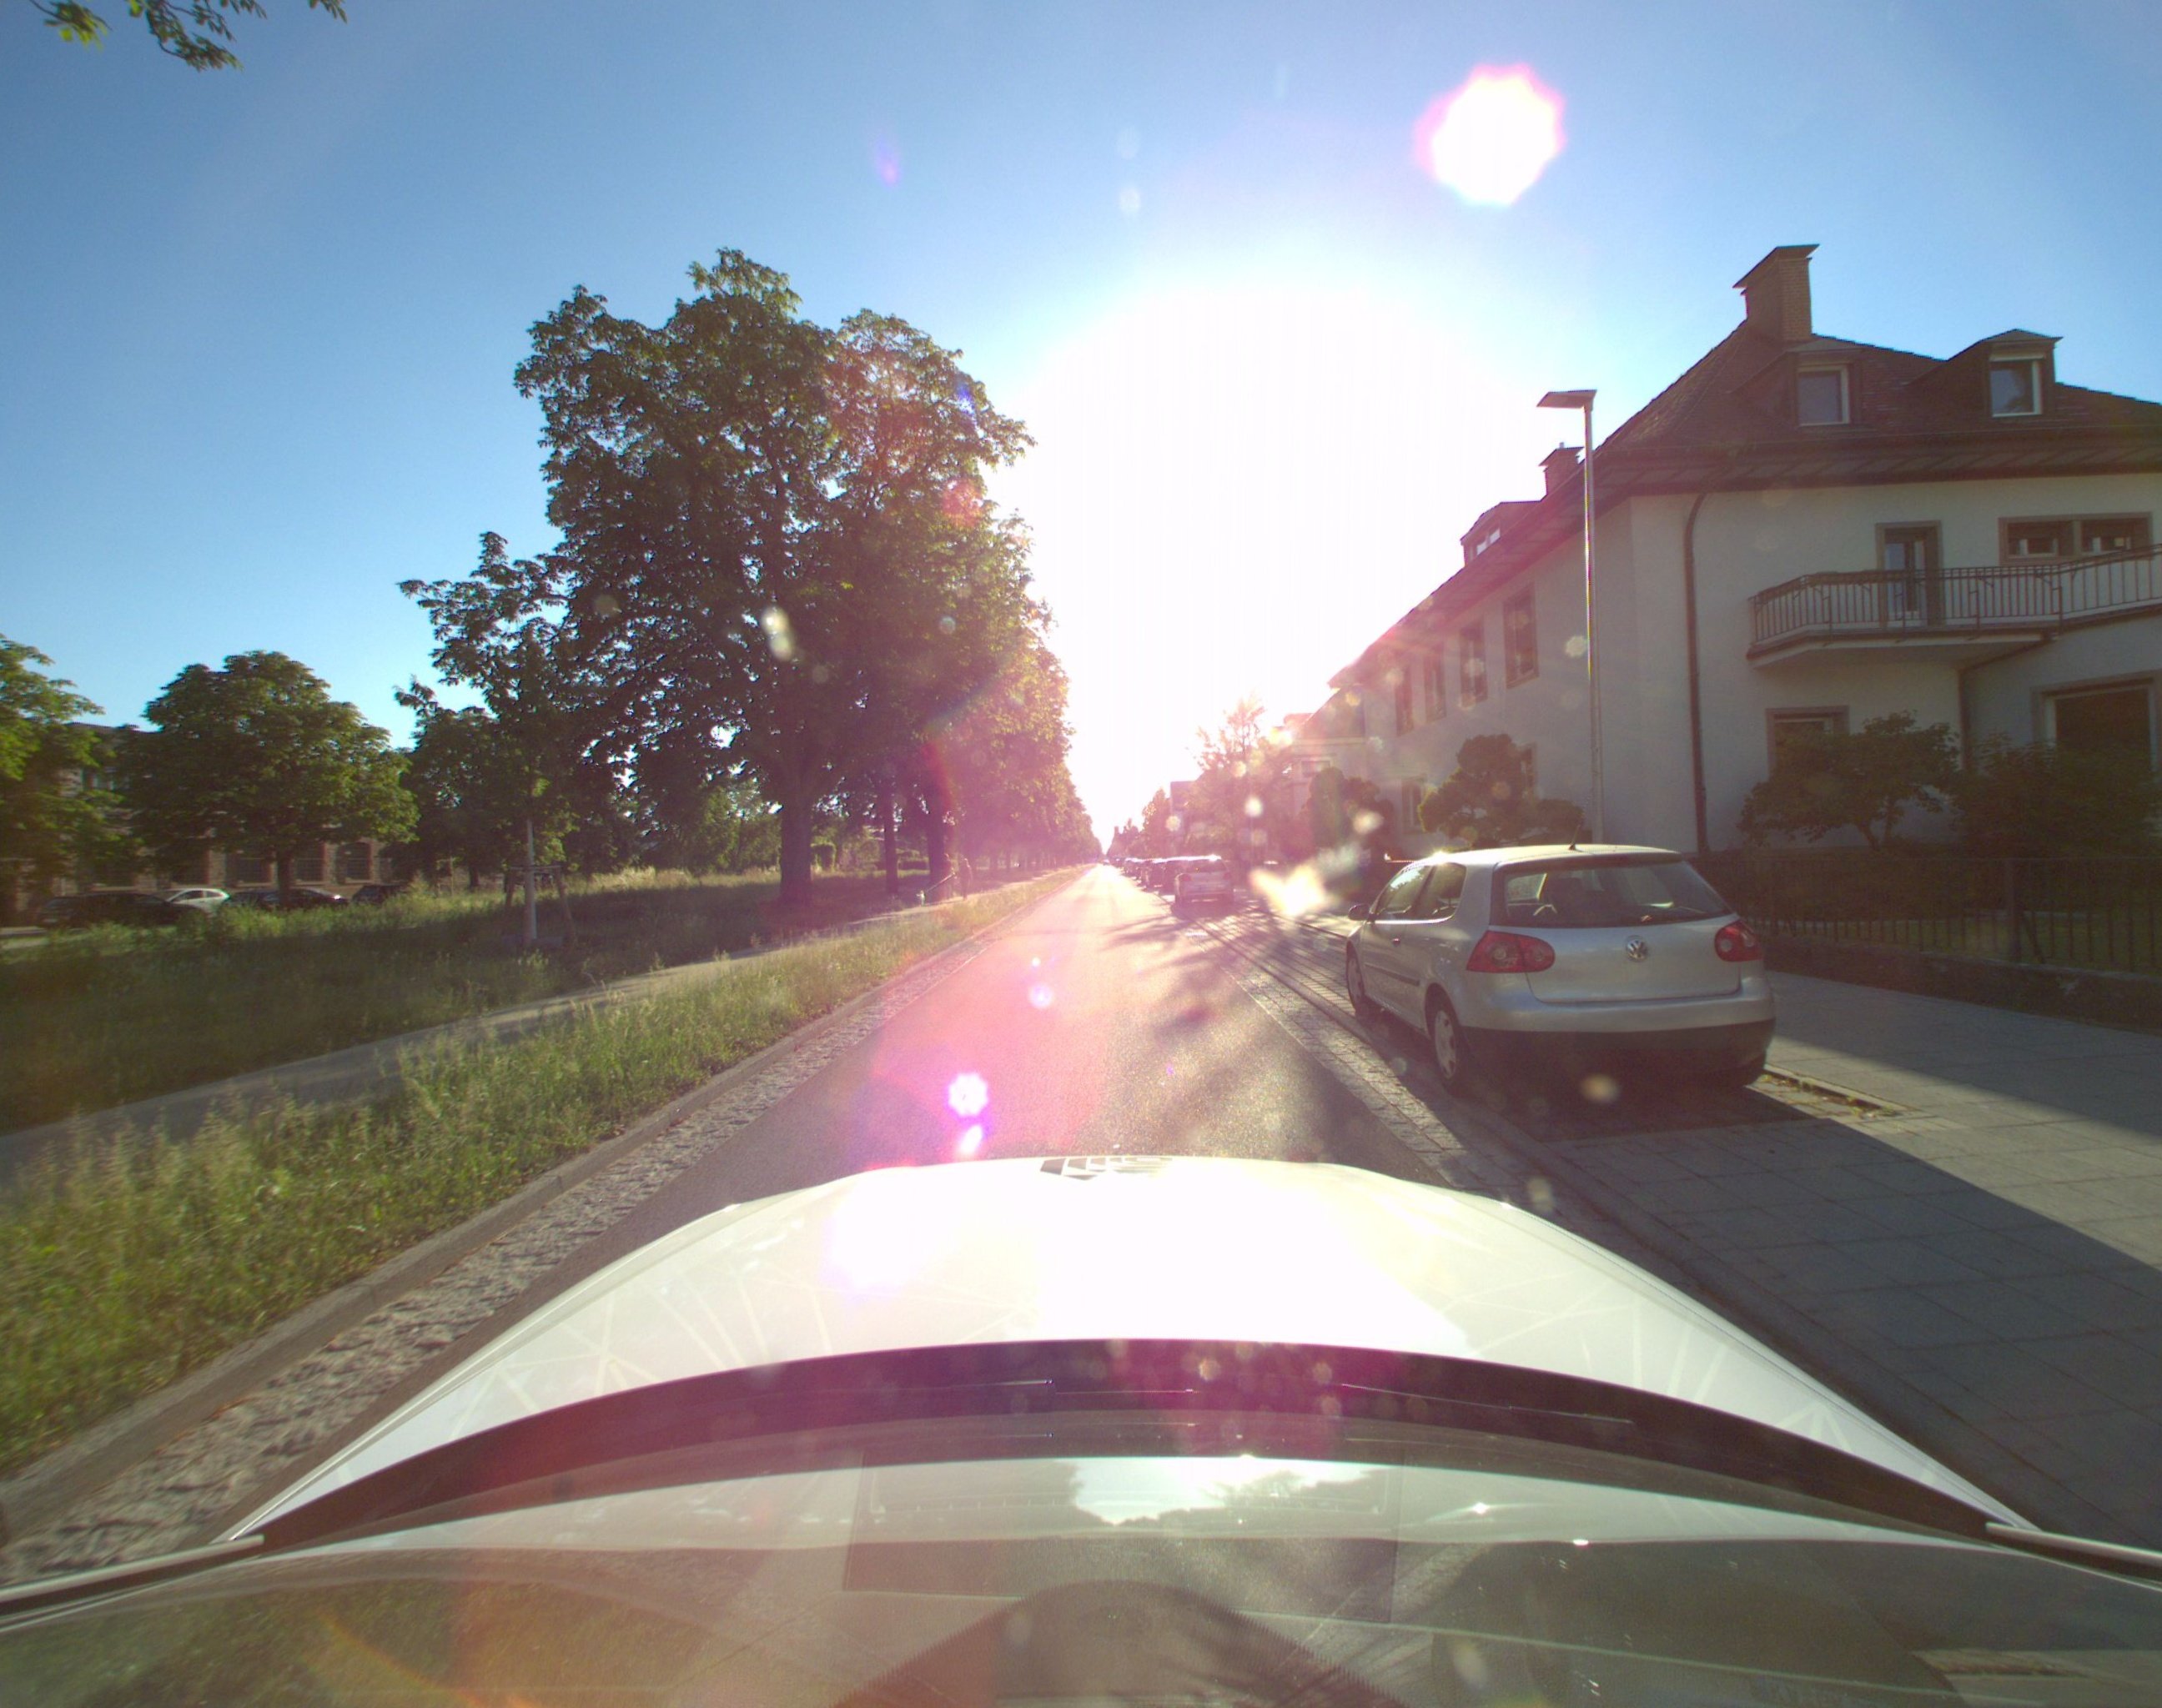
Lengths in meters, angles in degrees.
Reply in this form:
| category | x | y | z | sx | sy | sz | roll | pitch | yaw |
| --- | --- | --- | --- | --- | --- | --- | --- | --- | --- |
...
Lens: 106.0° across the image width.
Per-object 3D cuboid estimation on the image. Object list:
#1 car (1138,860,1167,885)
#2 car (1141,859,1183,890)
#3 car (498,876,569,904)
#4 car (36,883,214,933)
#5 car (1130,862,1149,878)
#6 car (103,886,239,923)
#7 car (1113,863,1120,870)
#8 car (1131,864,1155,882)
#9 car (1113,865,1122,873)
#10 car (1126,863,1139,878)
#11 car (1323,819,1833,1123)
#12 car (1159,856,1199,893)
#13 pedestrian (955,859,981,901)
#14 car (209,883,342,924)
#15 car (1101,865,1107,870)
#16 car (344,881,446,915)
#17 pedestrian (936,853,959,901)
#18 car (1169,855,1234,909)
| category | x | y | z | sx | sy | sz | roll | pitch | yaw |
| --- | --- | --- | --- | --- | --- | --- | --- | --- | --- |
| car | 4.539 | 1.174 | 52.077 | 1.586 | 1.510 | 3.593 | -2 | -1 | 2 |
| car | 4.201 | 1.057 | 42.565 | 1.731 | 1.449 | 4.196 | -4 | -1 | 0 |
| car | -35.277 | 2.280 | 52.618 | 1.686 | 1.597 | 4.221 | -2 | -1 | 1 |
| car | -35.798 | 1.976 | 30.696 | 1.686 | 1.597 | 4.221 | -2 | -1 | 1 |
| car | 5.400 | 1.468 | 75.363 | 1.645 | 1.396 | 3.268 | -2 | -1 | 3 |
| car | -41.264 | 2.258 | 37.090 | 1.623 | 1.406 | 4.001 | -2 | -1 | 1 |
| car | 8.669 | 3.051 | 200.614 | 1.645 | 1.541 | 3.268 | -1 | -1 | 3 |
| car | 4.730 | 1.423 | 62.068 | 1.686 | 1.248 | 3.499 | -2 | -1 | 3 |
| car | 7.007 | 2.900 | 155.978 | 1.645 | 1.541 | 3.268 | -1 | -1 | 3 |
| car | 5.939 | 1.907 | 94.224 | 1.492 | 1.567 | 3.268 | -2 | -1 | 3 |
| car | 3.161 | 0.634 | 6.229 | 1.735 | 1.474 | 3.929 | -5 | -1 | 6 |
| car | 4.415 | 0.930 | 37.013 | 1.650 | 1.494 | 3.721 | -4 | -1 | 5 |
| pedestrian | -4.414 | 1.001 | 31.819 | 0.779 | 1.614 | 0.953 | -2 | -1 | 5 |
| car | -35.829 | 2.151 | 36.394 | 1.686 | 1.597 | 4.221 | -2 | -1 | 1 |
| car | 6.696 | 3.832 | 233.440 | 1.646 | 1.541 | 3.267 | -1 | -1 | 2 |
| car | -35.920 | 2.265 | 42.775 | 1.686 | 1.597 | 4.221 | -2 | -1 | 1 |
| pedestrian | -5.191 | 0.885 | 31.586 | 0.621 | 1.831 | 0.887 | -2 | -1 | 5 |
| car | 3.794 | 0.830 | 26.170 | 1.621 | 1.504 | 3.635 | -4 | 0 | 2 |
